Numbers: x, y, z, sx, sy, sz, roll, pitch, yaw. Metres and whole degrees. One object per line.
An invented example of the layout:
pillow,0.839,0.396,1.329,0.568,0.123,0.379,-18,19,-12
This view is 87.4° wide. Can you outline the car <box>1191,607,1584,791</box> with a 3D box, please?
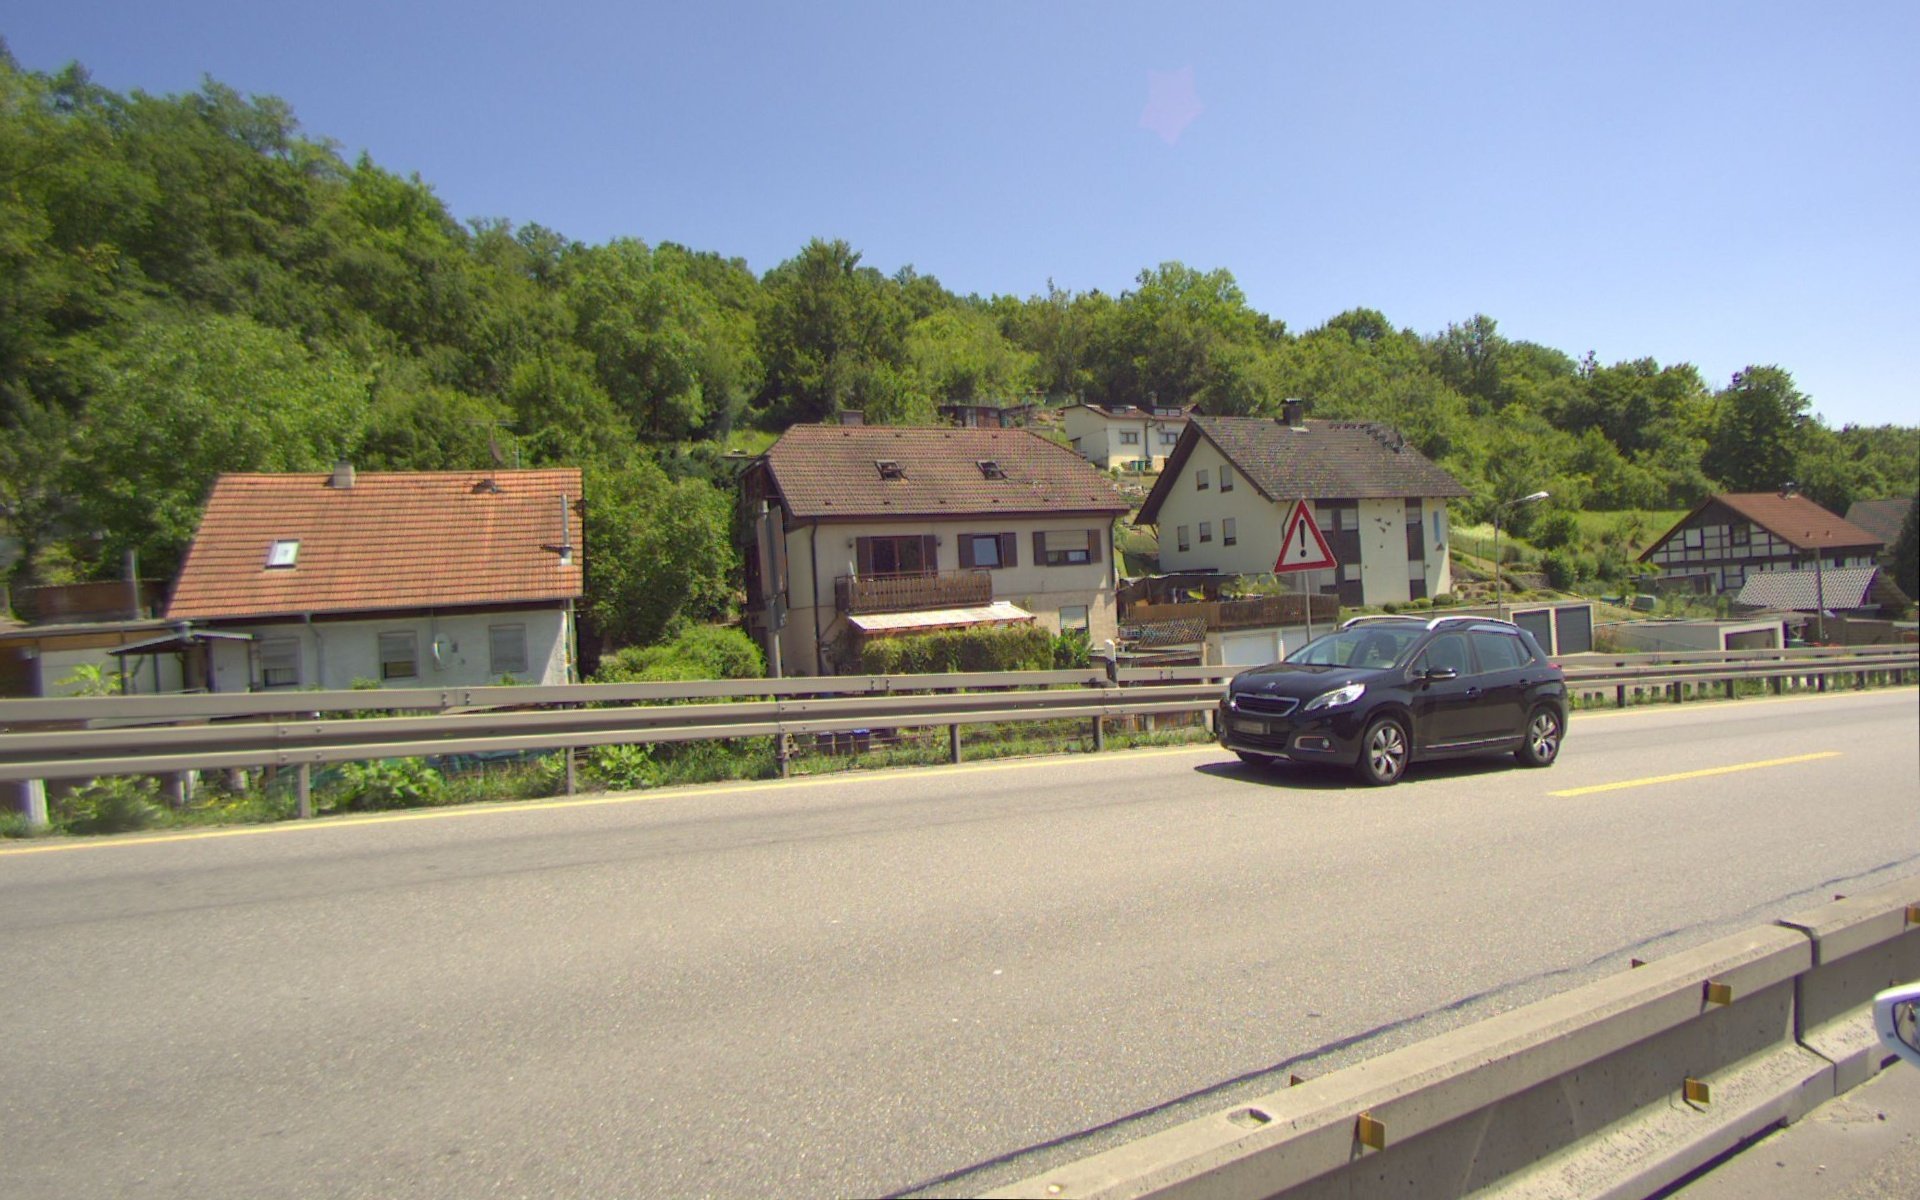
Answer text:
car,4.439,0.852,10.312,3.953,1.509,1.724,-1,0,-31
